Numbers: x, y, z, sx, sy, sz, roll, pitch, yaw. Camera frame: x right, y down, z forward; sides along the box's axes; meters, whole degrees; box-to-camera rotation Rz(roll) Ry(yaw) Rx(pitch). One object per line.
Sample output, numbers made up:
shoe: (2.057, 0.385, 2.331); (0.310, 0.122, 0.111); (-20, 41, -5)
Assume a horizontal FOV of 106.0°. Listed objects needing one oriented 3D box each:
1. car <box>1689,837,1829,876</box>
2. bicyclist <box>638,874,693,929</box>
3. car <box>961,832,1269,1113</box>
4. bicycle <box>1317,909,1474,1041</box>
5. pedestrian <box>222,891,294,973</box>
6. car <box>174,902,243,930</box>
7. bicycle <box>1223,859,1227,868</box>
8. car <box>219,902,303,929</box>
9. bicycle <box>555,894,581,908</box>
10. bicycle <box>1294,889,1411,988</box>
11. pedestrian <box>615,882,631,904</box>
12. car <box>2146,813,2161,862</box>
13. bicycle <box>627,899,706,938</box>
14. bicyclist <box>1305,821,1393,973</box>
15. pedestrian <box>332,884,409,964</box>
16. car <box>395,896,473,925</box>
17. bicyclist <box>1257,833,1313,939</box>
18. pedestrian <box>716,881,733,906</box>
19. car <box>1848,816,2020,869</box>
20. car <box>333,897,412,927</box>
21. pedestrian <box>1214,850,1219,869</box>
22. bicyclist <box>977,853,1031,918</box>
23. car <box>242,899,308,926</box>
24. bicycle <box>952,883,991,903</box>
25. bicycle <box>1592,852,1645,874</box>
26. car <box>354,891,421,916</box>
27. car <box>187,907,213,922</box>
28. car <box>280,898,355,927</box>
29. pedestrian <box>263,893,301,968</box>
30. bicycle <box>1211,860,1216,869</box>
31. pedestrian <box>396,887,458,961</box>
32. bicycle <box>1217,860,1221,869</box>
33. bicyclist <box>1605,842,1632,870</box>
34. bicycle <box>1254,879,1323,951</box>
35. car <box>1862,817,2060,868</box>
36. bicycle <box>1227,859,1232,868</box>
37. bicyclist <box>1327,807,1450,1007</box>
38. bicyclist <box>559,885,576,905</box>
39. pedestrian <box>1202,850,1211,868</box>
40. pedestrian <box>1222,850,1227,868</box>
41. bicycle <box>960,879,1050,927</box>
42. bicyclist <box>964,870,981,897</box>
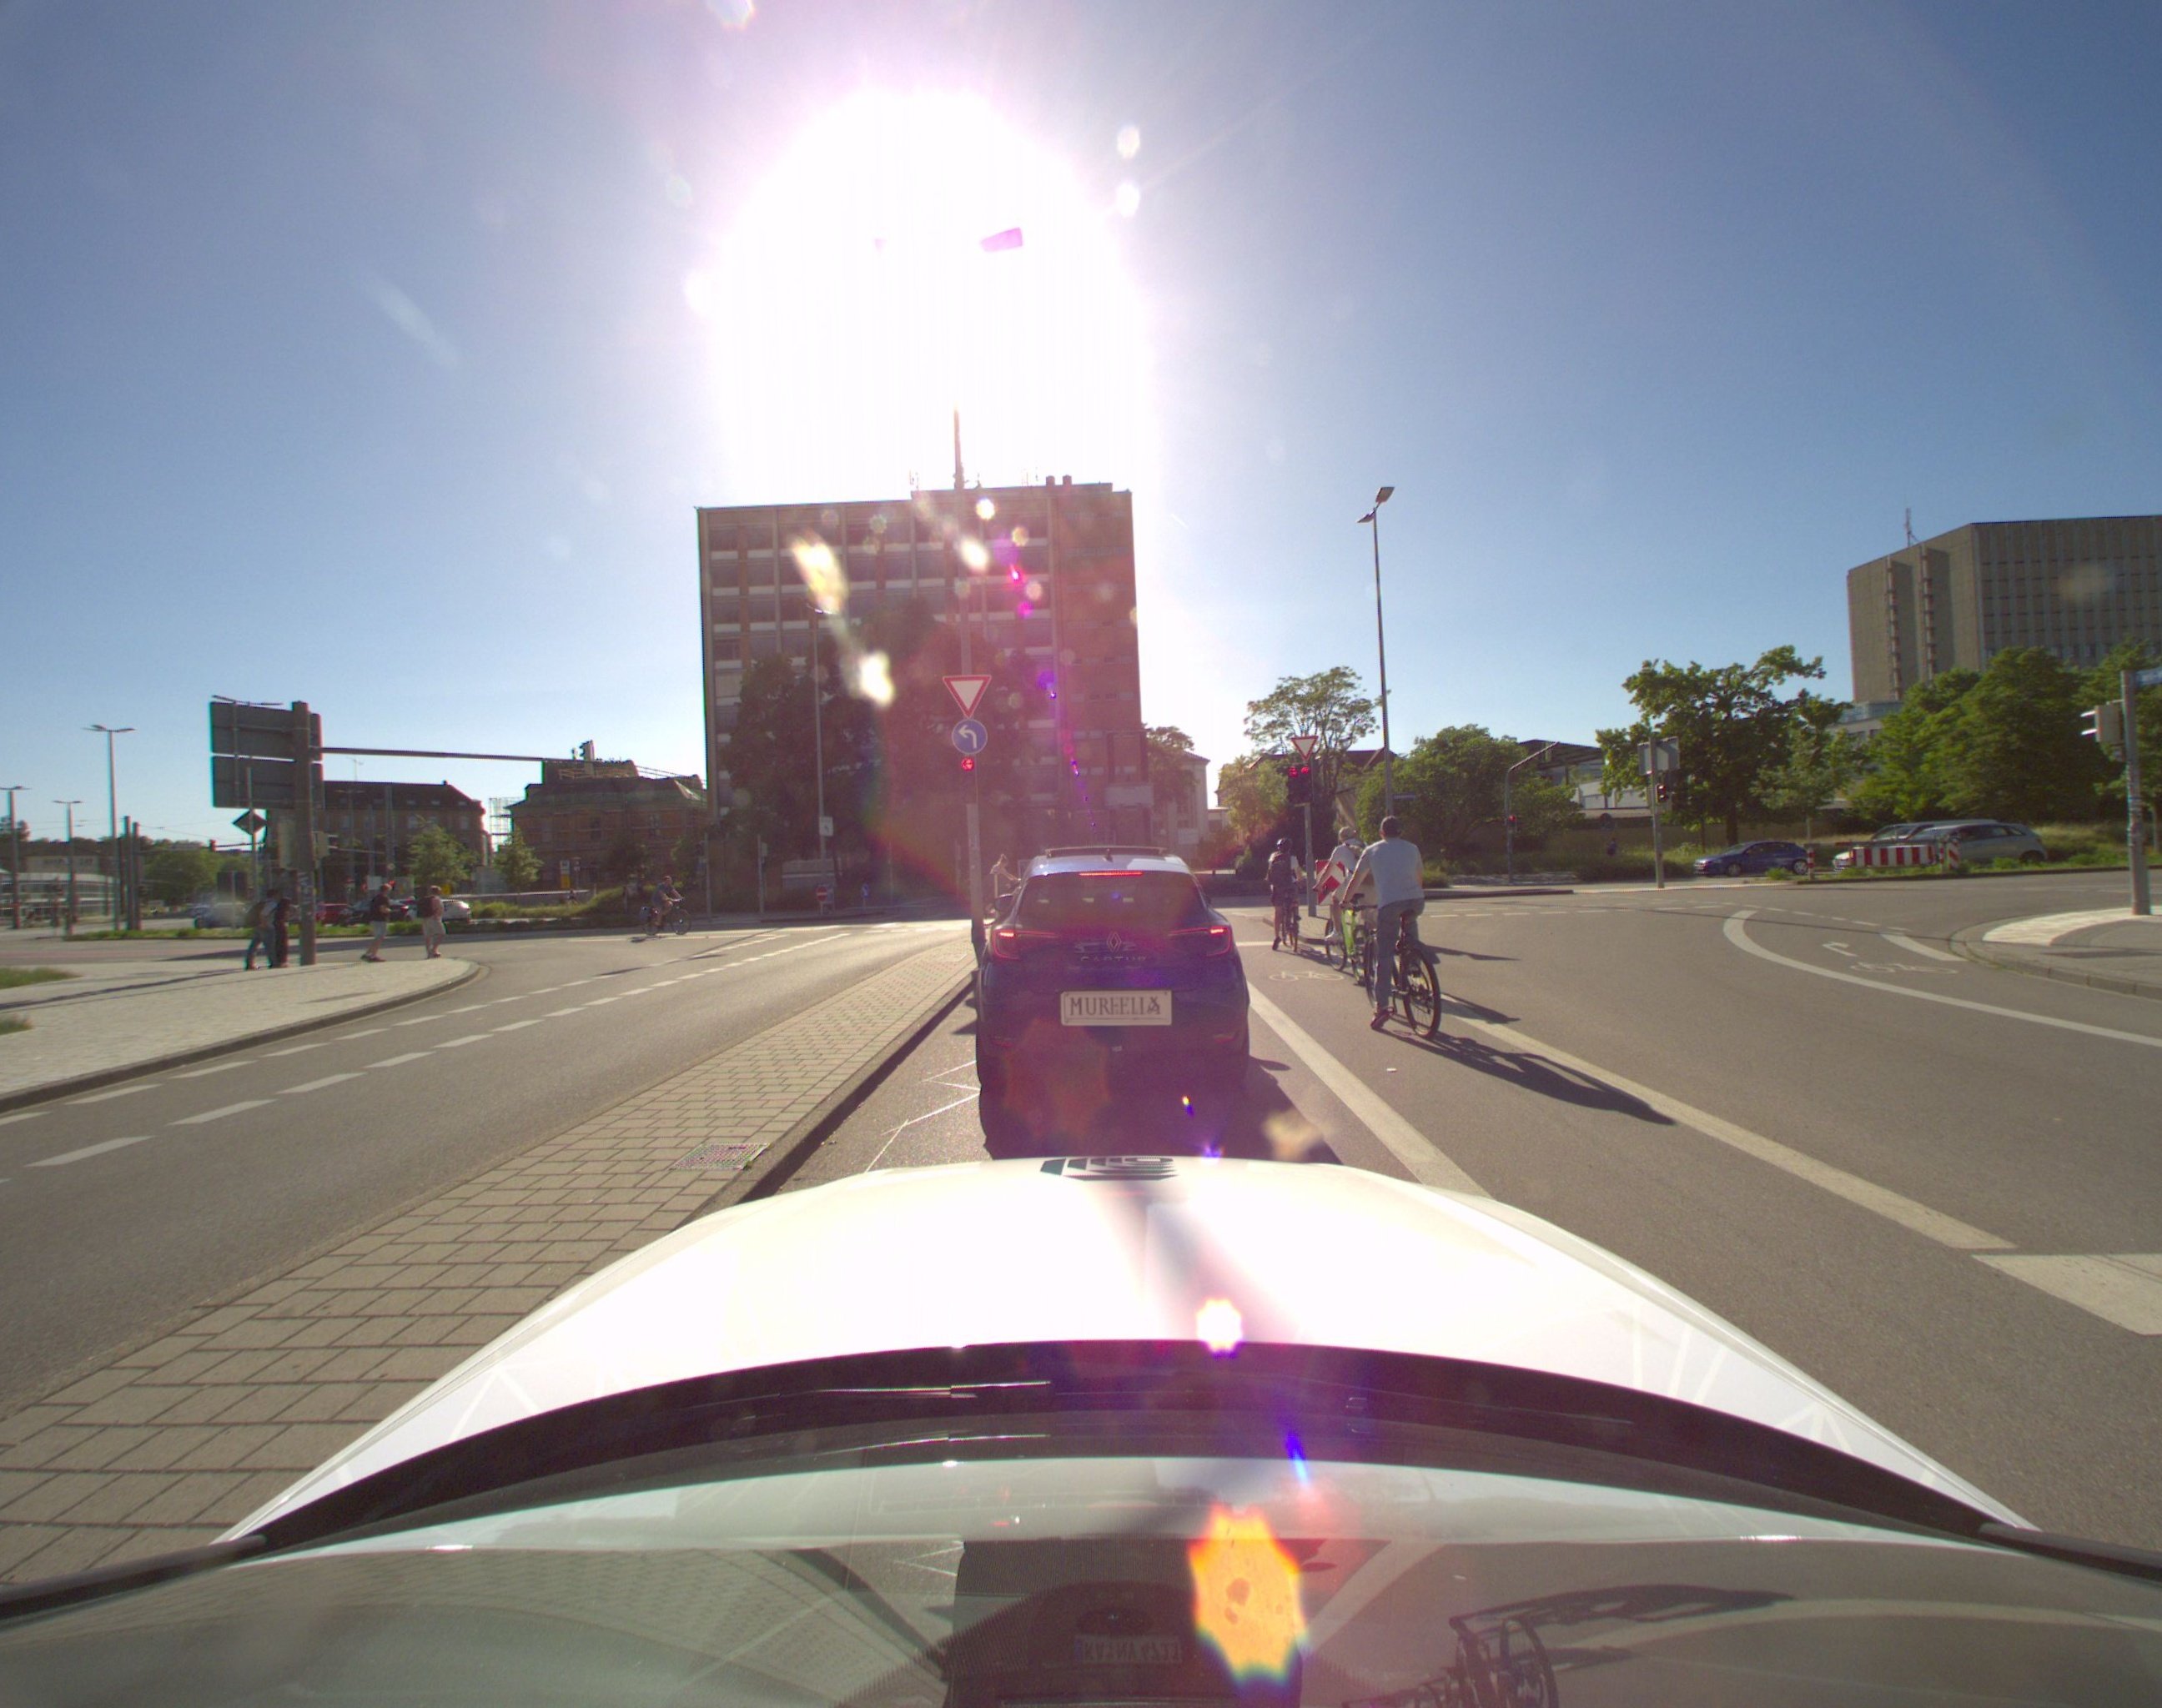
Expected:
car: (28.223, 0.102, 34.022); (4.140, 1.435, 1.747); (-2, -1, 8)
bicyclist: (-11.606, 1.329, 22.755); (1.116, 1.422, 0.690); (-4, -1, 15)
car: (0.209, 0.710, 6.817); (1.798, 1.632, 3.999); (-1, 0, 0)
bicycle: (2.725, 1.006, 7.311); (0.737, 0.896, 1.980); (0, -1, 3)
pedestrian: (-18.224, 1.709, 18.055); (0.908, 1.690, 0.831); (-2, -3, -31)
car: (-55.155, 3.912, 51.488); (4.331, 1.632, 1.855); (-3, -1, 27)
bicycle: (16.660, 1.080, 94.187); (0.403, 0.973, 1.686); (0, -1, 6)
car: (-49.007, 3.683, 48.677); (4.841, 1.388, 1.854); (-3, -1, 23)
bicycle: (-37.755, 3.469, 59.933); (2.056, 0.964, 0.602); (-3, -1, 28)
bicycle: (3.220, 0.956, 9.867); (0.657, 1.003, 1.967); (0, -1, -4)
pedestrian: (-33.067, 2.832, 58.737); (0.852, 1.571, 0.562); (-3, -1, 25)
car: (36.991, -0.623, 25.363); (4.711, 1.584, 2.002); (-2, -1, 4)
bicycle: (-11.575, 1.798, 22.737); (1.969, 0.918, 0.690); (-4, -1, 15)
bicyclist: (3.220, 0.496, 9.865); (0.644, 1.739, 1.065); (0, -1, -4)
pedestrian: (-16.806, 1.633, 19.280); (0.697, 1.800, 1.107); (-5, -3, 16)
car: (-36.460, 3.196, 45.894); (3.803, 1.435, 1.752); (-2, -1, 21)
bicyclist: (3.243, 0.502, 13.002); (0.722, 1.629, 0.970); (0, -1, 6)
pedestrian: (-23.945, 2.654, 54.694); (0.730, 1.603, 0.602); (-3, -1, 24)
car: (35.257, -0.440, 33.775); (4.856, 2.107, 2.002); (0, -1, 4)
car: (-42.575, 3.473, 48.916); (4.334, 1.632, 1.854); (-3, -1, 23)
pedestrian: (15.108, 0.603, 90.872); (0.473, 2.014, 0.524); (-2, -1, 8)
bicyclist: (-1.876, 0.754, 19.929); (1.062, 1.500, 0.743); (-4, -1, 10)
car: (-53.809, 3.926, 54.390); (4.331, 1.632, 1.855); (-3, -1, 27)
bicycle: (-5.921, 2.115, 44.041); (2.016, 0.964, 0.593); (-2, -1, -25)
bicycle: (26.370, 0.449, 40.000); (2.070, 0.930, 0.697); (-3, 1, 6)
car: (-50.947, 3.617, 59.810); (4.779, 1.632, 1.855); (-2, -1, 25)
car: (-105.369, 7.249, 97.478); (3.949, 1.618, 2.012); (-3, -1, 44)
car: (-48.452, 3.689, 51.664); (4.334, 1.632, 1.854); (-3, -1, 23)
pedestrian: (-19.149, 1.815, 19.517); (0.600, 1.729, 0.572); (-2, -1, -45)
bicycle: (15.264, 1.232, 93.895); (0.403, 0.973, 1.686); (0, -1, 6)
pedestrian: (-15.868, 1.679, 19.783); (0.787, 1.690, 0.791); (-5, -3, 10)
bicycle: (15.882, 1.227, 93.837); (0.403, 0.973, 1.686); (0, -1, 6)
bicyclist: (26.377, 0.078, 39.987); (0.821, 1.316, 0.697); (-3, 1, 6)
bicycle: (3.253, 0.929, 12.949); (0.735, 0.995, 2.177); (0, -1, 6)
car: (28.146, -0.338, 26.181); (4.025, 1.408, 1.872); (-2, -1, 8)
bicycle: (17.194, 1.076, 94.188); (0.403, 0.973, 1.686); (0, -1, 6)
bicyclist: (2.718, 0.447, 7.311); (0.748, 1.668, 1.017); (0, -1, 3)
bicyclist: (-37.775, 3.021, 59.935); (0.928, 1.429, 0.602); (-3, -1, 27)
pedestrian: (14.386, 0.524, 93.231); (0.855, 2.014, 0.469); (-2, -1, 7)
pedestrian: (16.221, 0.606, 92.197); (0.473, 2.014, 0.469); (-2, -1, 8)
bicycle: (-1.849, 1.190, 19.915); (1.972, 0.995, 0.743); (-4, -1, 10)
bicyclist: (-5.884, 1.599, 44.069); (0.741, 1.441, 0.593); (-2, -1, -25)
